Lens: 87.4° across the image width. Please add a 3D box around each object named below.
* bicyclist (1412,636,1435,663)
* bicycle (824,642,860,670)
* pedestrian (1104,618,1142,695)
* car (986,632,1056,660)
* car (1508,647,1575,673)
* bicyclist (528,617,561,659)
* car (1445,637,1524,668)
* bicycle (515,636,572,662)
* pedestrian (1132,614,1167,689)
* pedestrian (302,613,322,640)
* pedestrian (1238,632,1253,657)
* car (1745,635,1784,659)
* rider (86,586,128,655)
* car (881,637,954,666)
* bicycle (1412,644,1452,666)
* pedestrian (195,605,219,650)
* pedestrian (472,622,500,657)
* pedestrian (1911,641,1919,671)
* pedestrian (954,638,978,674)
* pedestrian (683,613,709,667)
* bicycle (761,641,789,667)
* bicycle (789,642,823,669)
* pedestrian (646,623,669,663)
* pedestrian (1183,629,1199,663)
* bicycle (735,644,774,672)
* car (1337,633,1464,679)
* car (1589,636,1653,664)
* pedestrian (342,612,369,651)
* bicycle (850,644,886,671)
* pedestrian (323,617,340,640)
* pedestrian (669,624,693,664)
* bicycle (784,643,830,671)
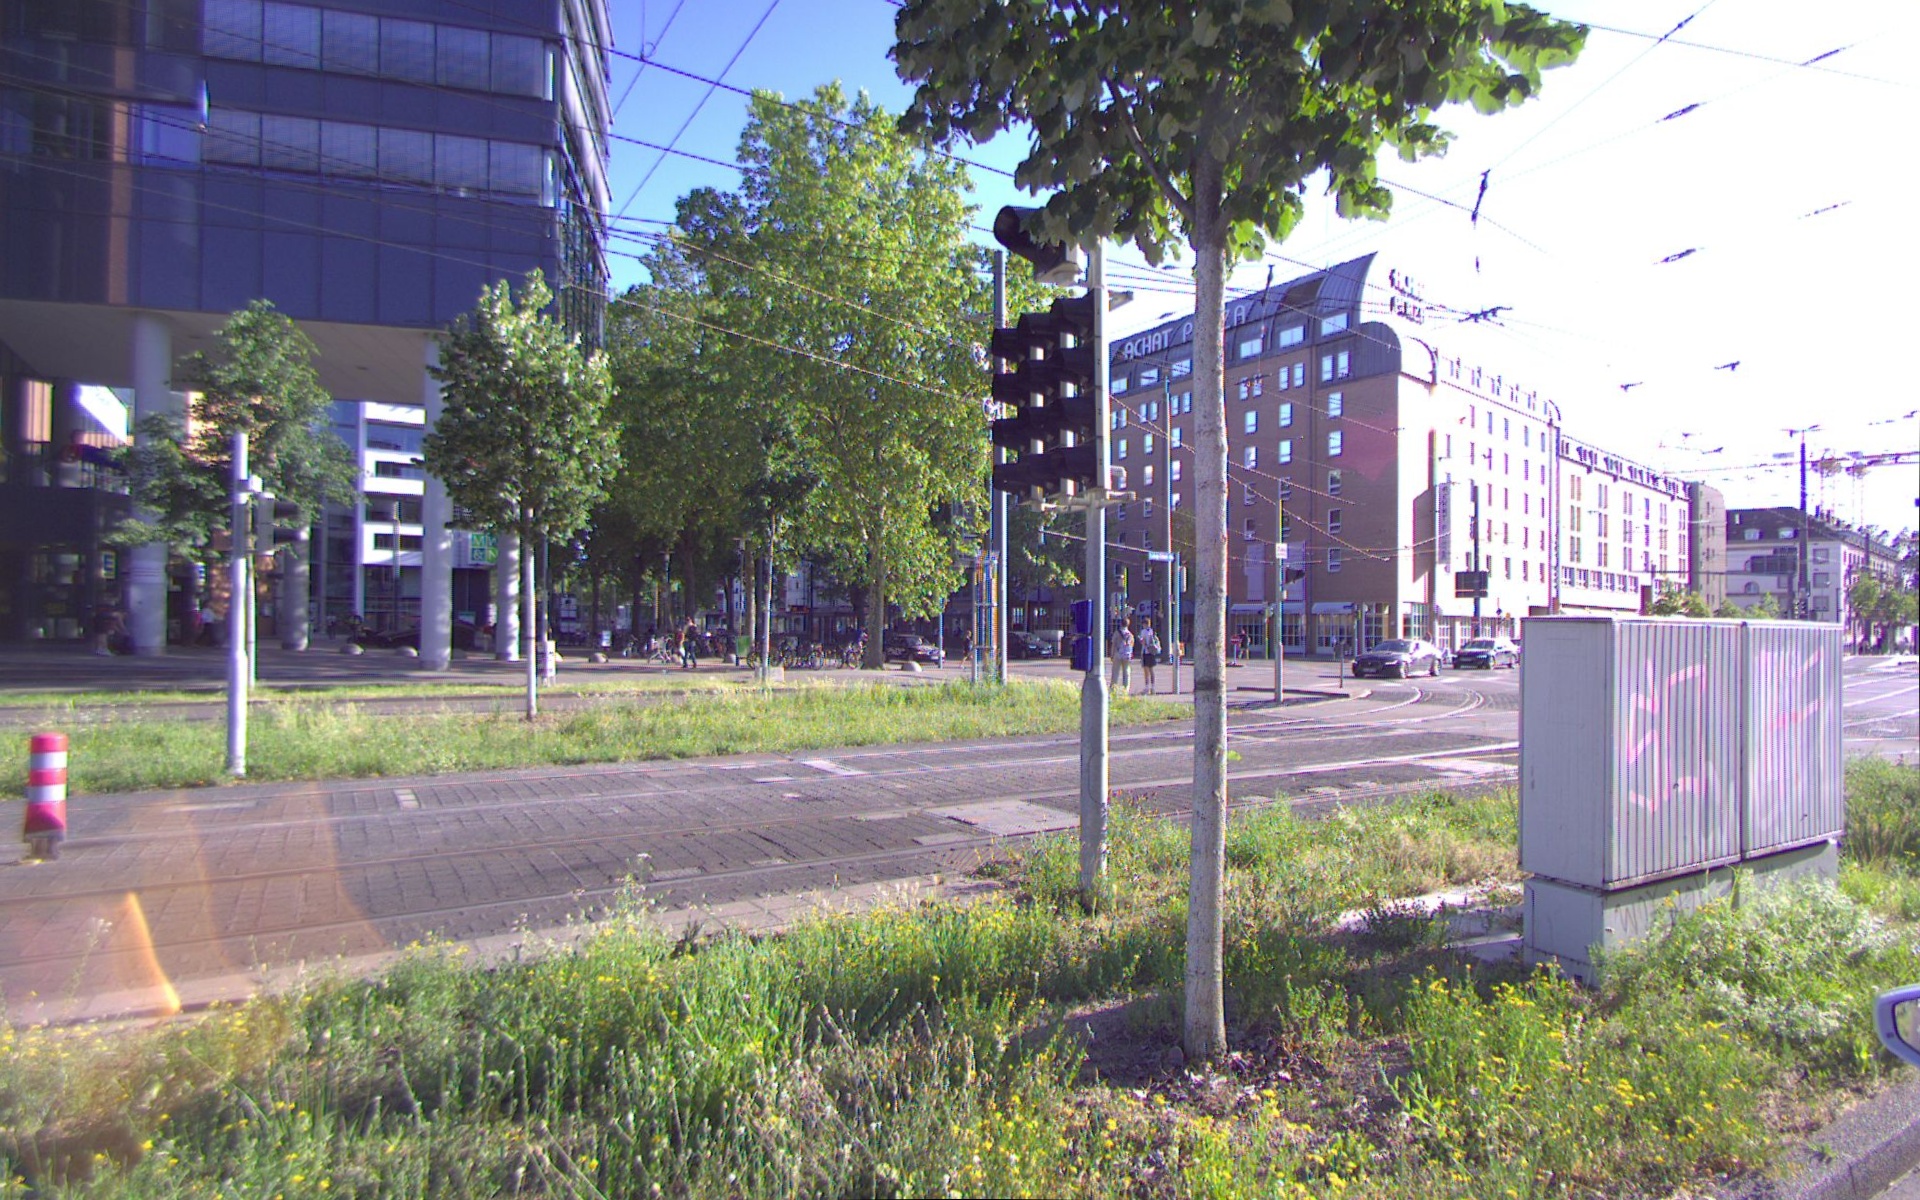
[{"bbox_3d":[24.391,2.577,52.828,0.942,1.393,0.752,2,-1,-37],"label":"bicyclist"},{"bbox_3d":[-4.466,2.100,37.892,0.536,0.964,1.753,2,-2,-36],"label":"bicycle"},{"bbox_3d":[3.979,1.373,24.558,0.656,1.854,0.627,1,-1,-36],"label":"pedestrian"},{"bbox_3d":[3.333,2.513,55.154,1.743,1.439,3.960,2,-2,-35],"label":"car"},{"bbox_3d":[36.500,3.765,63.077,3.947,1.570,1.749,1,-2,-26],"label":"car"},{"bbox_3d":[-15.154,1.381,36.623,1.006,1.484,0.674,1,-1,-33],"label":"bicyclist"},{"bbox_3d":[25.545,2.565,48.912,4.104,1.440,1.711,2,-4,-36],"label":"car"},{"bbox_3d":[-15.175,1.797,36.611,1.867,0.922,0.495,2,-2,-31],"label":"bicycle"},{"bbox_3d":[4.739,1.272,25.103,0.656,1.841,0.559,1,-1,-36],"label":"pedestrian"},{"bbox_3d":[-37.444,1.524,58.057,0.647,1.500,1.053,1,0,-13],"label":"pedestrian"},{"bbox_3d":[17.681,2.735,62.242,0.652,1.523,0.672,1,-1,-33],"label":"pedestrian"},{"bbox_3d":[53.370,3.099,66.621,1.726,1.524,3.858,-1,-2,43],"label":"car"},{"bbox_3d":[-23.160,0.559,27.280,0.704,1.826,0.715,1,-1,-29],"label":"rider"},{"bbox_3d":[-2.128,2.484,49.215,1.977,1.283,3.968,1,-2,-30],"label":"car"},{"bbox_3d":[24.884,2.904,52.935,2.900,1.099,0.645,2,-2,-38],"label":"bicycle"},{"bbox_3d":[-25.116,0.922,33.518,0.566,1.500,0.450,1,0,-30],"label":"pedestrian"},{"bbox_3d":[-24.082,2.003,51.020,1.091,1.730,0.789,1,0,-13],"label":"pedestrian"},{"bbox_3d":[54.180,3.136,56.585,0.756,1.662,0.741,0,-1,37],"label":"pedestrian"},{"bbox_3d":[0.277,2.518,45.328,0.832,1.619,0.692,1,0,-33],"label":"pedestrian"},{"bbox_3d":[-10.110,1.526,38.435,0.826,2.040,0.730,1,0,-25],"label":"pedestrian"},{"bbox_3d":[-7.048,2.049,38.360,0.530,0.964,1.772,1,-1,7],"label":"bicycle"},{"bbox_3d":[-5.909,2.099,38.404,0.536,0.964,1.753,2,-2,-36],"label":"bicycle"},{"bbox_3d":[-12.814,1.834,42.593,0.826,1.667,0.730,1,-1,-25],"label":"pedestrian"},{"bbox_3d":[14.302,2.848,62.227,0.669,2.040,0.663,1,-1,-29],"label":"pedestrian"},{"bbox_3d":[-7.552,2.122,36.893,0.538,0.964,1.748,2,-2,-44],"label":"bicycle"},{"bbox_3d":[16.607,2.077,37.801,4.681,1.617,1.985,2,-2,-29],"label":"car"},{"bbox_3d":[35.852,2.692,54.472,3.960,1.468,1.563,2,-2,-35],"label":"car"},{"bbox_3d":[-27.693,1.438,46.011,0.794,1.730,0.789,1,0,-13],"label":"pedestrian"},{"bbox_3d":[-3.501,2.157,38.133,0.536,0.964,1.753,2,-2,-36],"label":"bicycle"},{"bbox_3d":[-37.088,1.668,59.299,0.651,1.294,0.636,1,0,-13],"label":"pedestrian"},{"bbox_3d":[-11.700,1.837,42.055,0.826,1.619,0.730,1,0,-25],"label":"pedestrian"},{"bbox_3d":[-5.644,2.097,37.003,1.742,0.964,0.540,0,-1,34],"label":"bicycle"}]
